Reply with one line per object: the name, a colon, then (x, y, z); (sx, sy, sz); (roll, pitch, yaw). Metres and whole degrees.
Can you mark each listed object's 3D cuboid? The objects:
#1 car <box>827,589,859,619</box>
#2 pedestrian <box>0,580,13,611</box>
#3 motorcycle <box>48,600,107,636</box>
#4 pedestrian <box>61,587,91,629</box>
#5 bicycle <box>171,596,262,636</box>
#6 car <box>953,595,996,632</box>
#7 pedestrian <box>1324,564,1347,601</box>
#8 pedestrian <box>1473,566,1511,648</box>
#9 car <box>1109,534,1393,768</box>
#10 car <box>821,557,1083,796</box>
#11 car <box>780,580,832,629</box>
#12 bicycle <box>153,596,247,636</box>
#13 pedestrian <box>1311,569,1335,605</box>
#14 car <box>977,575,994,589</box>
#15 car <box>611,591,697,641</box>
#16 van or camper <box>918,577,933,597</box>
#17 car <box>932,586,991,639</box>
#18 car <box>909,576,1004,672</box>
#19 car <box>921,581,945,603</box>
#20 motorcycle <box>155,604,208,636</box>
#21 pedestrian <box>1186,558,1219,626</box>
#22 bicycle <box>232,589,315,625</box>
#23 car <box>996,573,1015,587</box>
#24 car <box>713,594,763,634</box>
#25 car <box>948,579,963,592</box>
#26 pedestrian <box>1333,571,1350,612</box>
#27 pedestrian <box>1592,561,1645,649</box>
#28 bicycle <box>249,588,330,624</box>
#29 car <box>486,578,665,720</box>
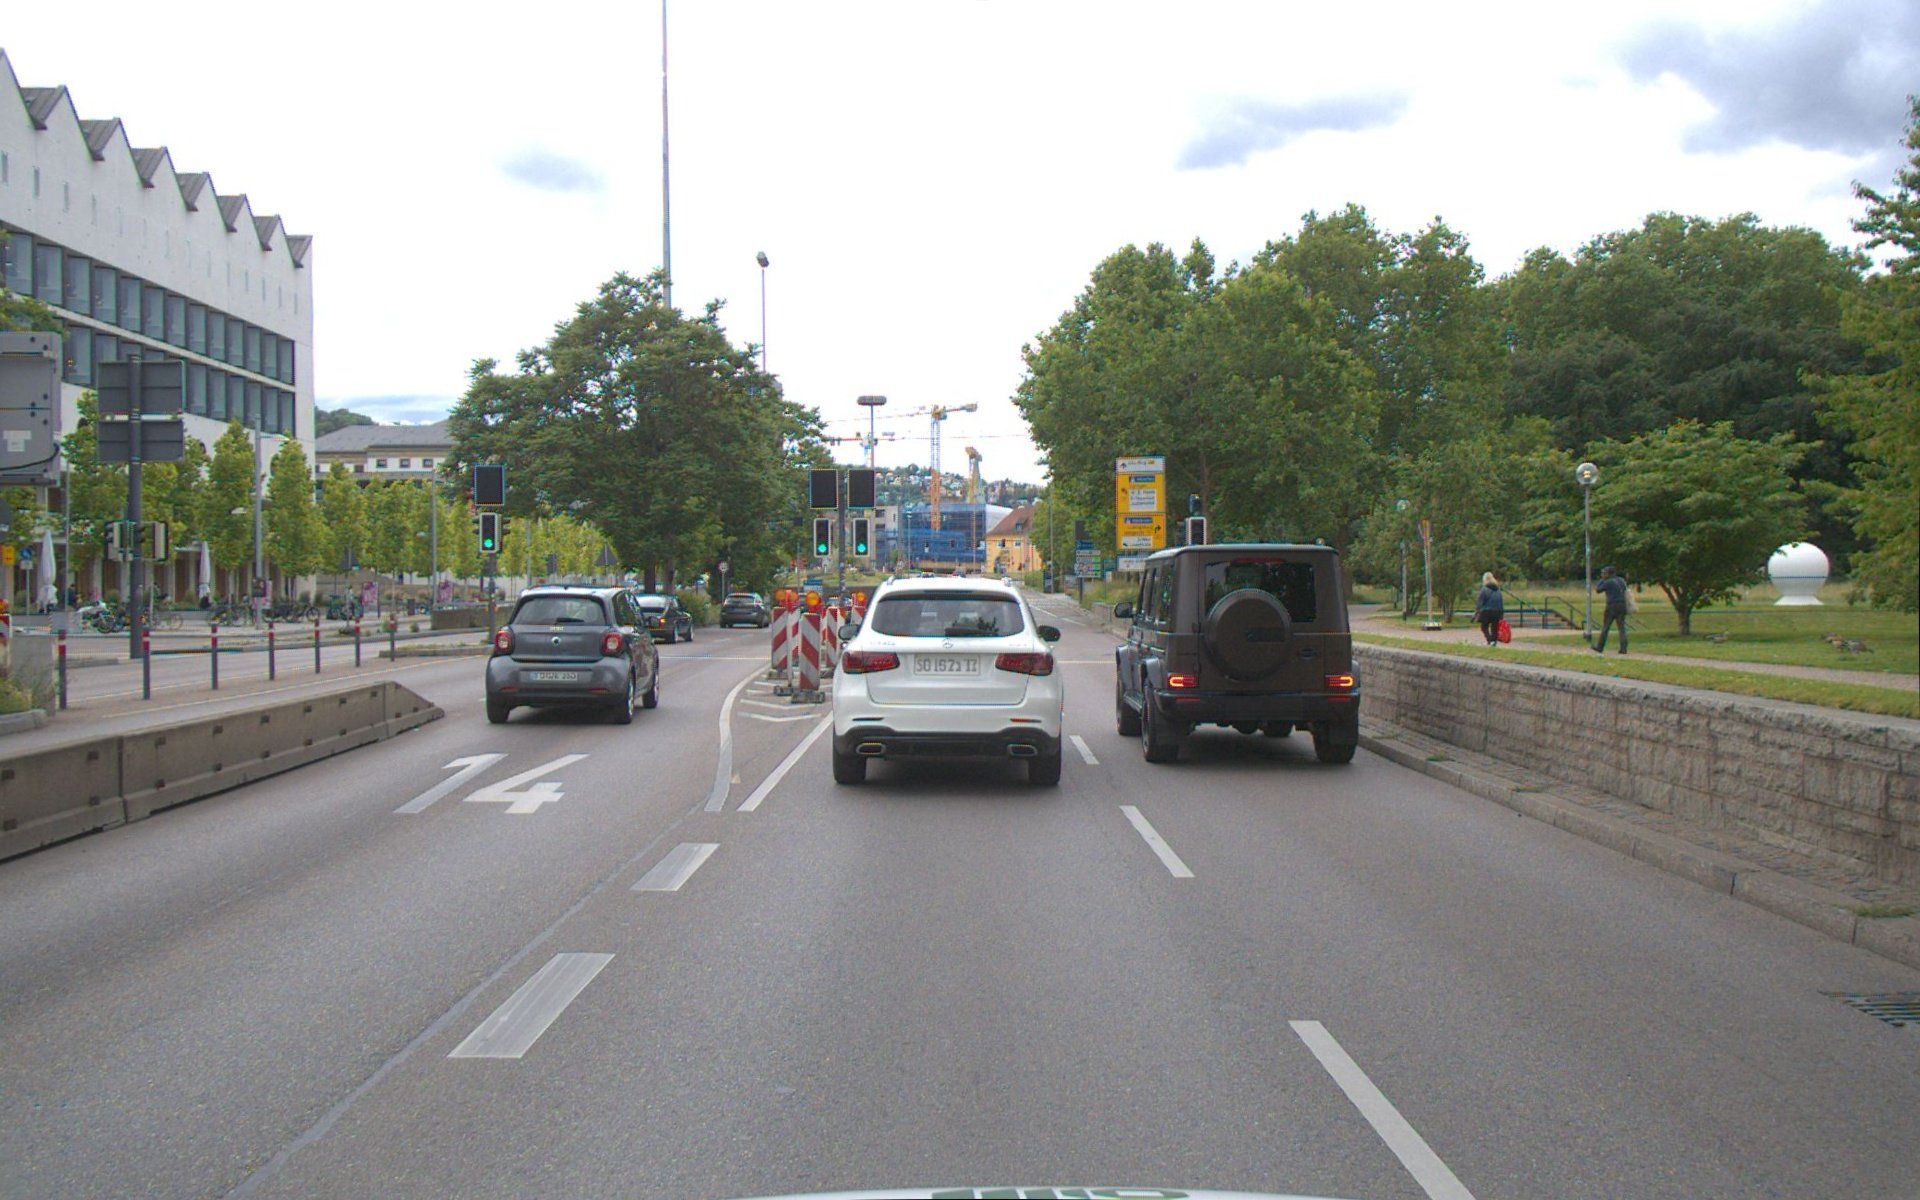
car: (-6.577, 0.207, 92.742); (1.686, 1.612, 3.996); (2, 0, -5)
pedestrian: (-42.285, -0.202, 73.101); (0.508, 1.350, 0.565); (-1, -1, -1)
motorcycle: (-32.193, 0.660, 60.377); (1.861, 1.255, 0.653); (-1, -2, -27)
pedestrian: (-33.603, 0.291, 62.874); (0.876, 1.584, 0.588); (-1, 0, -44)
bicycle: (-33.858, 0.729, 75.368); (3.541, 1.713, 1.182); (-1, 0, -3)
car: (0.650, 0.612, 76.381); (1.685, 1.612, 3.998); (2, 0, -3)
pedestrian: (19.430, -0.913, 85.695); (0.975, 1.868, 1.030); (2, -1, 5)
pedestrian: (10.471, 0.140, 32.588); (0.668, 1.589, 0.909); (-1, 0, 16)
car: (2.697, 0.455, 16.466); (1.937, 1.926, 4.706); (2, -1, 0)
car: (-0.125, 0.587, 14.345); (1.901, 1.713, 3.998); (2, -1, -2)
car: (-5.657, 0.141, 61.104); (1.685, 1.708, 3.998); (2, 0, -3)
bicycle: (-33.487, 0.694, 72.950); (3.541, 1.713, 1.182); (-1, 0, -3)
pedestrian: (17.889, -0.637, 81.543); (0.878, 1.763, 0.969); (2, 0, -1)
car: (2.972, -2.099, 195.693); (1.685, 1.612, 3.998); (2, 0, -3)
car: (-8.700, 0.424, 47.331); (1.684, 1.315, 4.000); (2, 0, 0)
van or camper: (-4.298, -1.616, 205.599); (1.884, 2.360, 3.998); (1, -1, -2)
car: (0.014, 0.392, 54.496); (1.685, 1.612, 3.998); (2, 0, -3)
car: (-0.085, 0.459, 31.422); (1.638, 1.656, 3.999); (2, -1, -1)
car: (-2.321, -0.712, 142.969); (1.953, 1.787, 4.000); (2, -1, 0)
motorcycle: (-30.970, 0.797, 65.806); (1.861, 1.255, 0.653); (-1, -2, -27)
pedestrian: (6.164, -0.194, 42.031); (0.683, 1.684, 0.683); (2, -1, -2)
bicycle: (-33.672, 0.322, 81.146); (3.549, 1.713, 1.179); (-1, 0, -12)
car: (5.894, -2.594, 214.939); (1.955, 1.646, 3.995); (2, -1, -6)
car: (-9.461, 0.564, 70.635); (1.718, 1.580, 3.998); (2, 0, -3)
car: (-0.611, -1.861, 214.949); (1.685, 1.612, 3.998); (2, 0, -3)
pedestrian: (19.375, -0.408, 84.034); (0.558, 2.049, 0.932); (2, -1, -1)
pedestrian: (12.541, 0.098, 31.511); (0.785, 1.654, 0.626); (-1, 0, 6)
bicycle: (-33.746, 0.302, 83.290); (3.549, 1.713, 1.179); (-1, 0, -12)
car: (-4.513, 0.550, 19.849); (1.596, 1.535, 3.536); (1, -1, -5)
